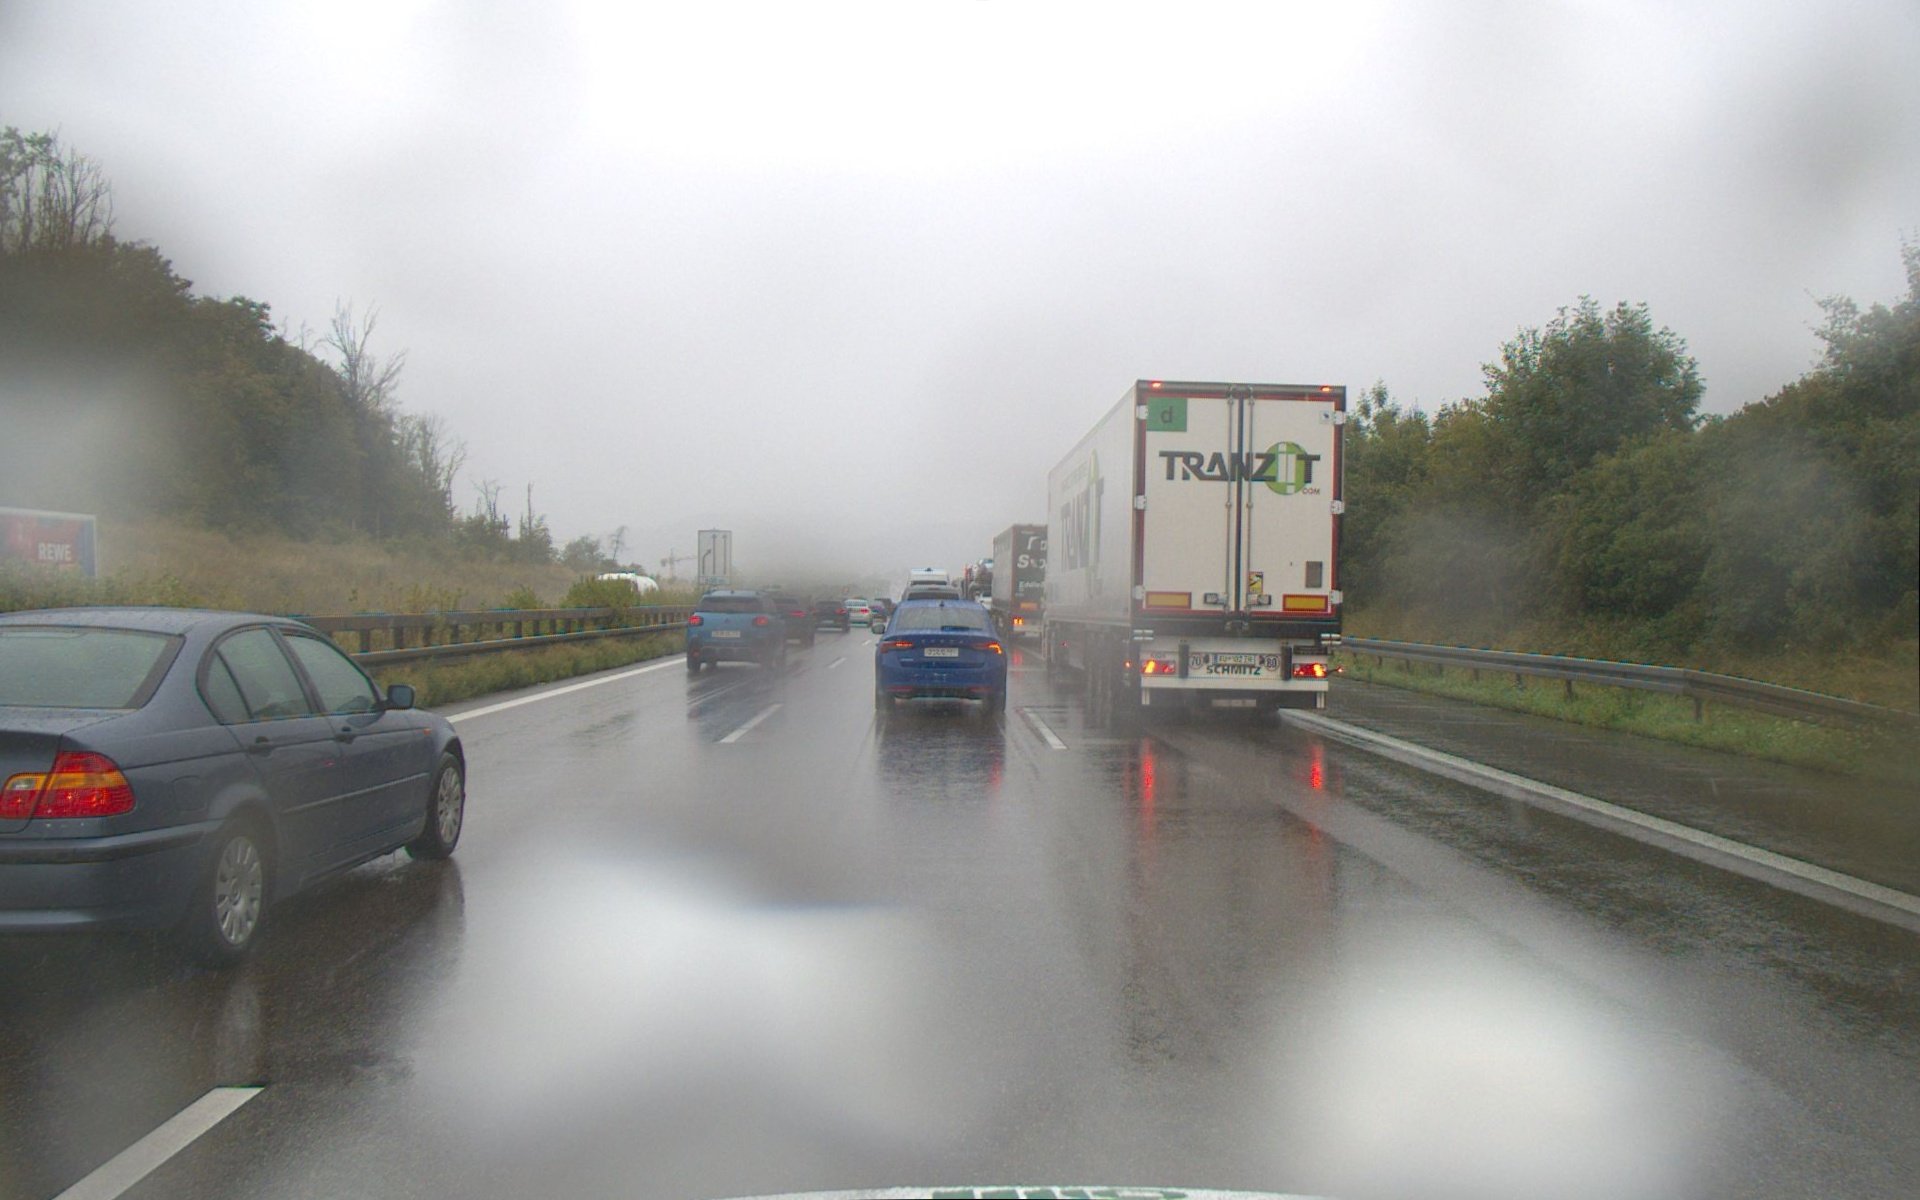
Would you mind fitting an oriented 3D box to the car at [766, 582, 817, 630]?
[{"bbox_3d":[-5.282,0.176,52.042,1.331,1.456,3.363,0,0,-1],"label":"car"}]

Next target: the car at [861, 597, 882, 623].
[{"bbox_3d":[-6.509,0.732,122.455,1.419,1.815,3.408,1,0,-1],"label":"car"}]

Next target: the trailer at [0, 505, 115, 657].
[{"bbox_3d":[-20.775,-0.409,34.447,1.953,3.136,8.870,1,0,-1],"label":"trailer"}]

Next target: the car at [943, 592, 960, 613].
[{"bbox_3d":[-0.745,0.216,145.127,1.419,1.815,3.408,1,0,-1],"label":"car"}]

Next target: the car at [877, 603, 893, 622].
[{"bbox_3d":[-7.355,1.239,161.693,1.419,1.815,3.408,1,0,-1],"label":"car"}]

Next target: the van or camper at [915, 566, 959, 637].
[{"bbox_3d":[-0.959,0.029,69.195,1.761,2.855,4.766,0,0,-1],"label":"van or camper"}]

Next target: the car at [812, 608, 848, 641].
[{"bbox_3d":[-5.838,1.089,74.673,1.410,1.445,3.321,0,0,-1],"label":"car"}]

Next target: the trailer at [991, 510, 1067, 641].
[{"bbox_3d":[2.357,-0.832,59.792,2.005,4.250,11.445,0,0,-1],"label":"trailer"}]

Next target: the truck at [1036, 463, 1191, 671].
[{"bbox_3d":[3.007,-0.634,33.617,2.577,3.894,4.790,0,0,-1],"label":"truck"}]

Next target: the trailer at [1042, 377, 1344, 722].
[{"bbox_3d":[3.143,-0.643,27.029,2.577,4.083,14.626,0,0,-1],"label":"trailer"}]

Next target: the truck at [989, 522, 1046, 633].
[{"bbox_3d":[2.239,-0.872,65.603,2.005,4.266,3.999,0,0,-1],"label":"truck"}]

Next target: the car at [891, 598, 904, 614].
[{"bbox_3d":[-7.123,0.666,187.826,1.419,1.815,3.408,1,0,-1],"label":"car"}]

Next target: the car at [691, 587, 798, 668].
[{"bbox_3d":[-4.381,0.537,34.083,1.686,1.550,4.000,0,0,0],"label":"car"}]

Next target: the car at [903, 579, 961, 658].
[{"bbox_3d":[-0.674,0.417,39.462,1.309,1.811,3.321,0,0,-1],"label":"car"}]

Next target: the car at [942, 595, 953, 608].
[{"bbox_3d":[-1.767,0.204,233.674,1.419,1.815,3.408,1,0,-1],"label":"car"}]

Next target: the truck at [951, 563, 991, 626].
[{"bbox_3d":[0.599,-0.348,96.579,1.953,3.481,8.028,0,1,-2],"label":"truck"}]

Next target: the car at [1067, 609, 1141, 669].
[{"bbox_3d":[3.404,0.901,39.482,1.395,1.310,3.460,0,0,-1],"label":"car"}]

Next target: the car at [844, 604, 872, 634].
[{"bbox_3d":[-5.555,1.003,90.409,1.410,1.560,3.321,0,0,-1],"label":"car"}]

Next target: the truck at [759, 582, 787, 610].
[{"bbox_3d":[-19.834,-0.436,175.393,2.431,2.767,4.527,-1,-1,0],"label":"truck"}]

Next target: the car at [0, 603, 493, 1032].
[{"bbox_3d":[-3.610,0.741,7.697,1.683,1.424,4.229,0,0,0],"label":"car"}]

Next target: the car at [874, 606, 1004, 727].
[{"bbox_3d":[-0.277,0.837,22.600,1.602,1.470,3.999,0,0,0],"label":"car"}]
